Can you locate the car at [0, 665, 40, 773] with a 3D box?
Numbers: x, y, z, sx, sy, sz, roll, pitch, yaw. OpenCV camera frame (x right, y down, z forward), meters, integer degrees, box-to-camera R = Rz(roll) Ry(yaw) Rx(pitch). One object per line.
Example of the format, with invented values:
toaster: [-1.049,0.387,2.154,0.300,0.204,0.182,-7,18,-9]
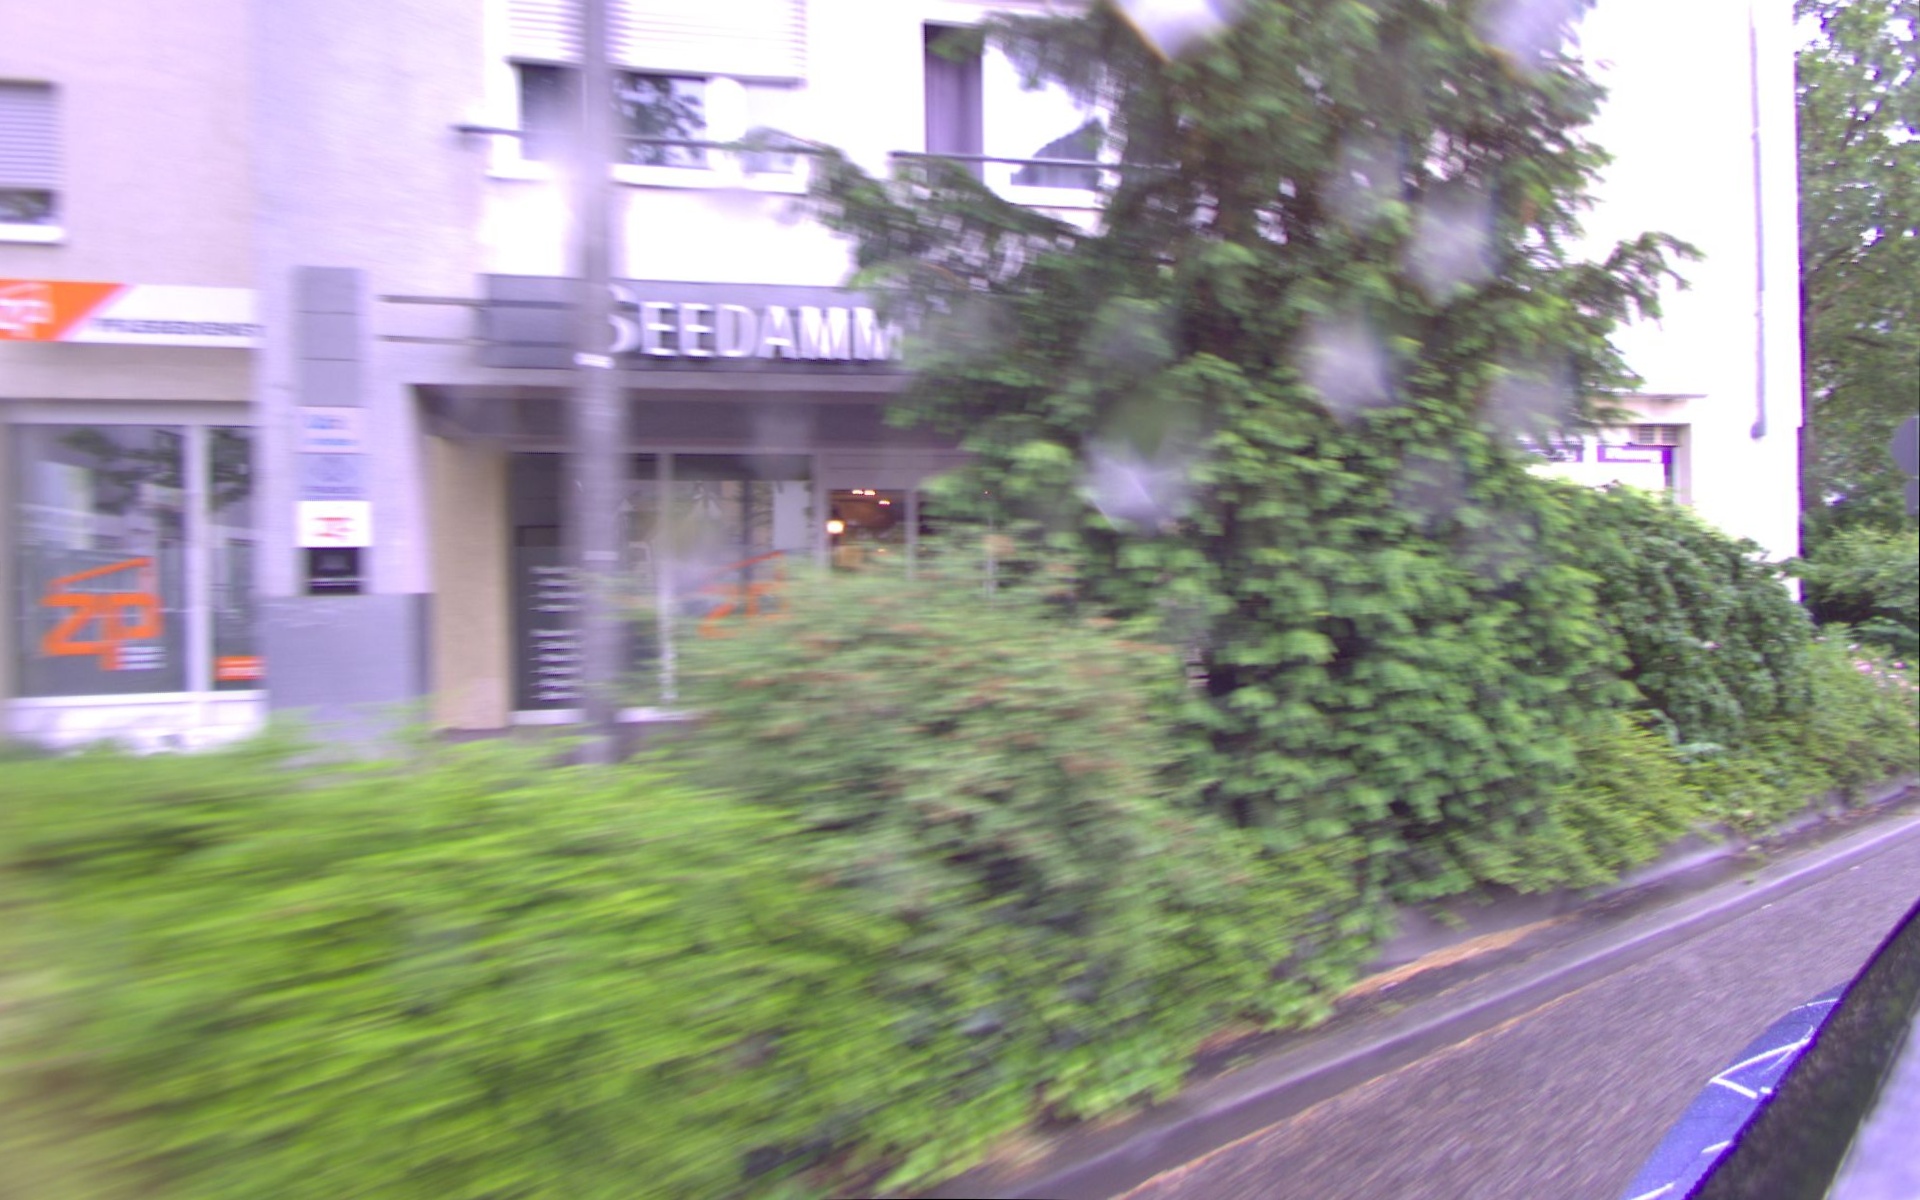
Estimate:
car: [-12.668,1.483,11.310,1.852,1.326,4.006,-1,-2,-14]
